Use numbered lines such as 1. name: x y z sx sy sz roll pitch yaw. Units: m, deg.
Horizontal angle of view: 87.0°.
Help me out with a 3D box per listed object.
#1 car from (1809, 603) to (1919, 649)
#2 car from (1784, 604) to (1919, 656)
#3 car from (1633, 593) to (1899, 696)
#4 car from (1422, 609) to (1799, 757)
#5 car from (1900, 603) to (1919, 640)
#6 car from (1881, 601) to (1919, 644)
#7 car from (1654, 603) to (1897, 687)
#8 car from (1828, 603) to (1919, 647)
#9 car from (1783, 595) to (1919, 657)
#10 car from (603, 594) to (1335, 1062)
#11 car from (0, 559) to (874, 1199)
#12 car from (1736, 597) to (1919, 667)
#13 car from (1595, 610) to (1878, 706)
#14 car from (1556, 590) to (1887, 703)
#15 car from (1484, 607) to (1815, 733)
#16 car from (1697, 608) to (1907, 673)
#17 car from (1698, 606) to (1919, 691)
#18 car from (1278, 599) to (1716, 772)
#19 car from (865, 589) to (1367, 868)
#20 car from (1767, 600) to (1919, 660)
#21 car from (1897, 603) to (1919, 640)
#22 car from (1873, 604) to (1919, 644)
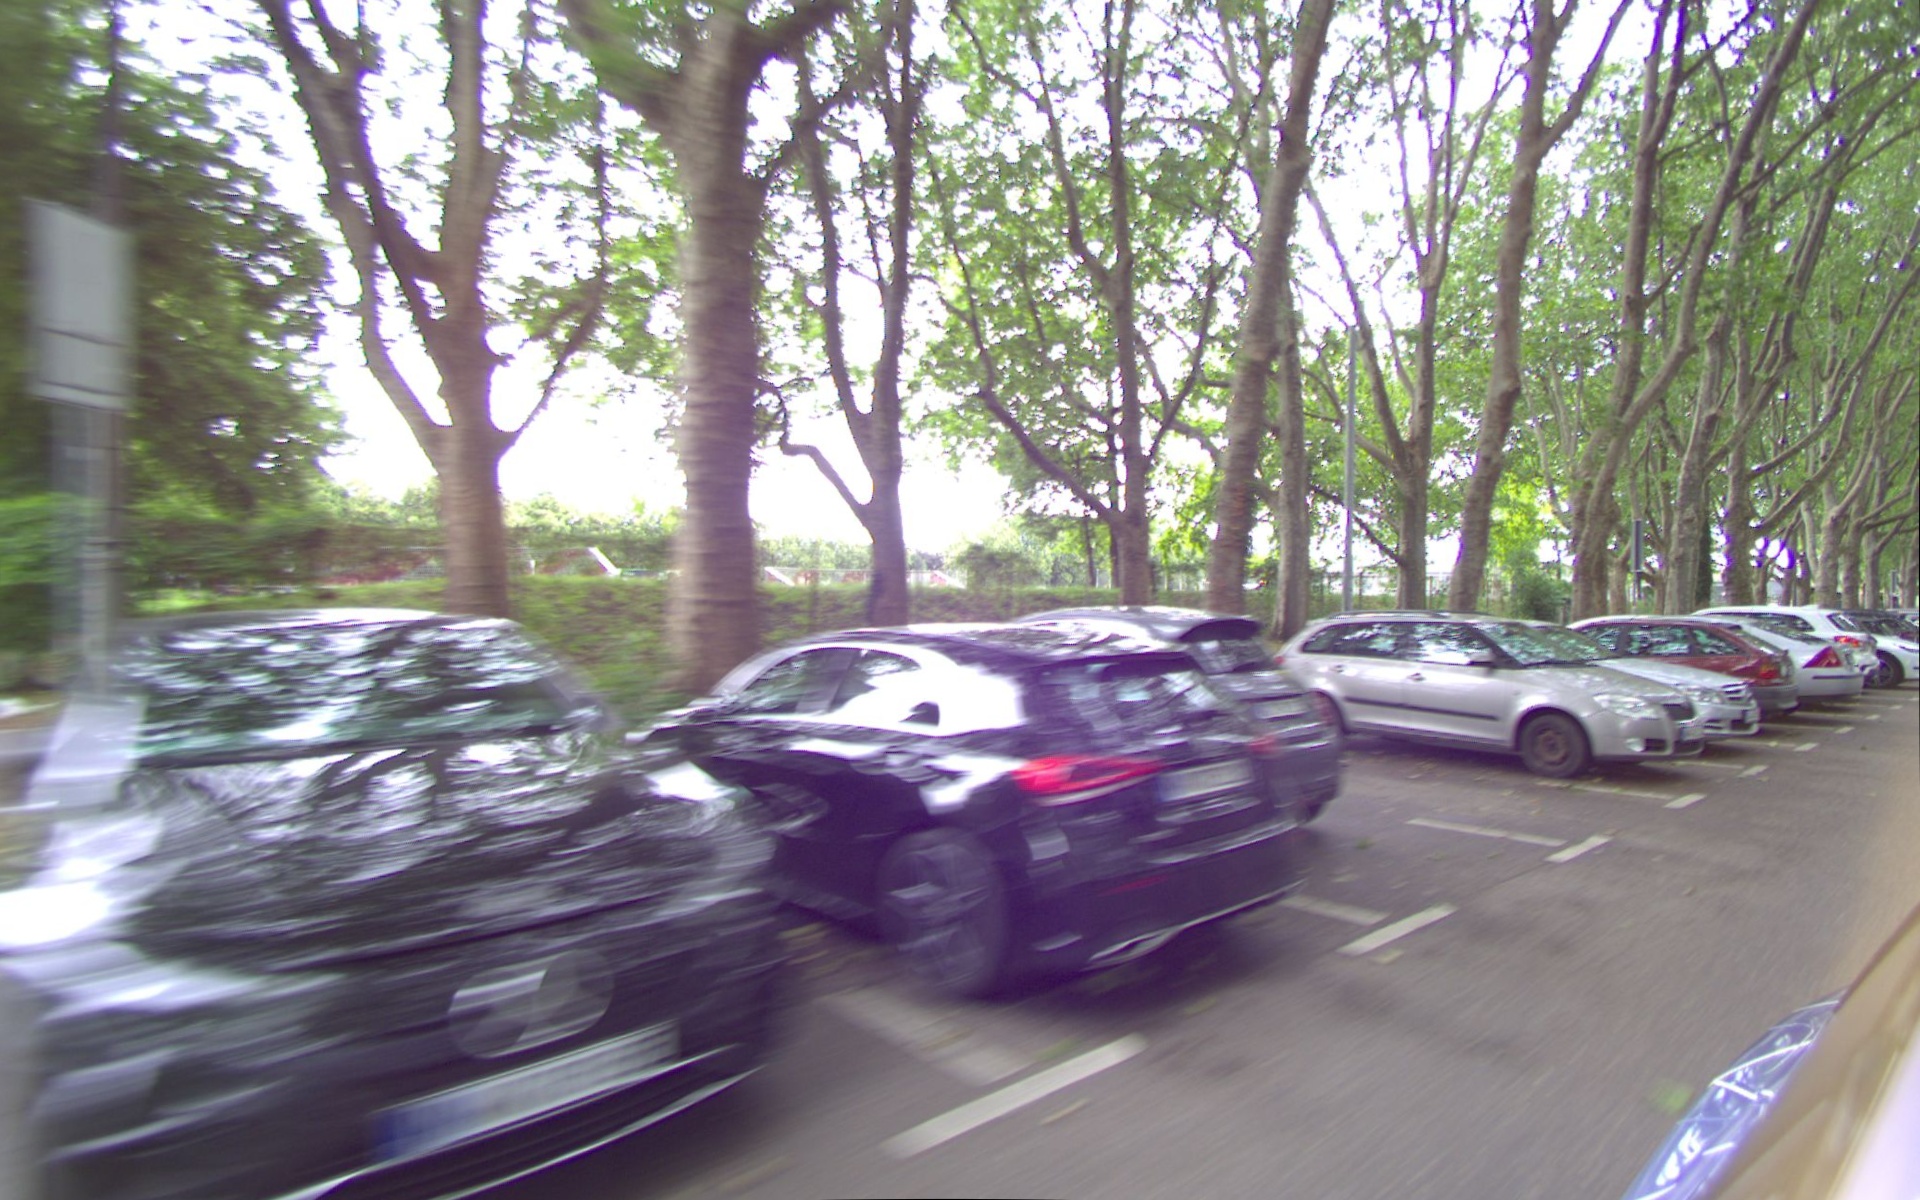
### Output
1. car: 30.759 0.833 33.119 1.595 1.488 4.373 1 -1 -41
2. car: 27.688 0.882 30.167 1.619 1.489 4.625 1 -1 -38
3. car: 14.591 0.737 18.453 1.494 1.688 3.648 1 -1 -44
4. car: 7.429 0.842 11.885 1.488 1.442 3.439 1 0 -30
5. car: 43.873 0.969 44.343 1.665 1.628 3.832 1 -1 -42
6. car: 38.565 0.884 39.197 1.664 1.691 4.121 1 -1 -40
7. car: 16.490 0.837 20.592 1.615 1.538 3.651 1 -1 -41
8. car: 32.925 0.848 35.352 1.638 1.488 3.782 1 -1 -41
9. car: 25.404 0.717 27.680 1.597 1.488 4.302 1 2 -44
10. car: -0.299 0.723 5.180 1.528 1.470 3.924 1 -1 -41
11. car: -2.488 0.715 4.013 1.892 1.470 4.665 1 -2 -41
12. car: 21.721 0.746 25.058 1.790 1.618 3.778 1 -1 -44
13. car: 13.123 0.902 17.247 1.494 1.428 3.648 1 -1 -44
14. car: 11.121 0.595 14.912 1.952 1.442 3.648 1 -1 -44
15. car: 9.080 0.825 13.501 1.494 1.442 3.427 1 -1 -44
16. car: 19.605 0.891 23.666 1.494 1.389 3.648 1 -1 -44
17. car: 18.138 0.949 21.132 1.824 1.616 4.170 1 -1 -44
18. car: 5.277 0.721 10.352 1.491 1.442 3.687 1 -1 -38
19. car: 0.942 0.709 7.346 1.528 1.527 3.430 1 -1 -41
20. car: 23.574 0.747 26.408 1.597 1.488 3.778 1 -1 -44
21. car: 40.408 0.875 40.433 1.583 1.470 4.217 1 -1 -42
22. car: 36.741 0.901 37.534 1.664 1.488 4.120 1 -1 -40
